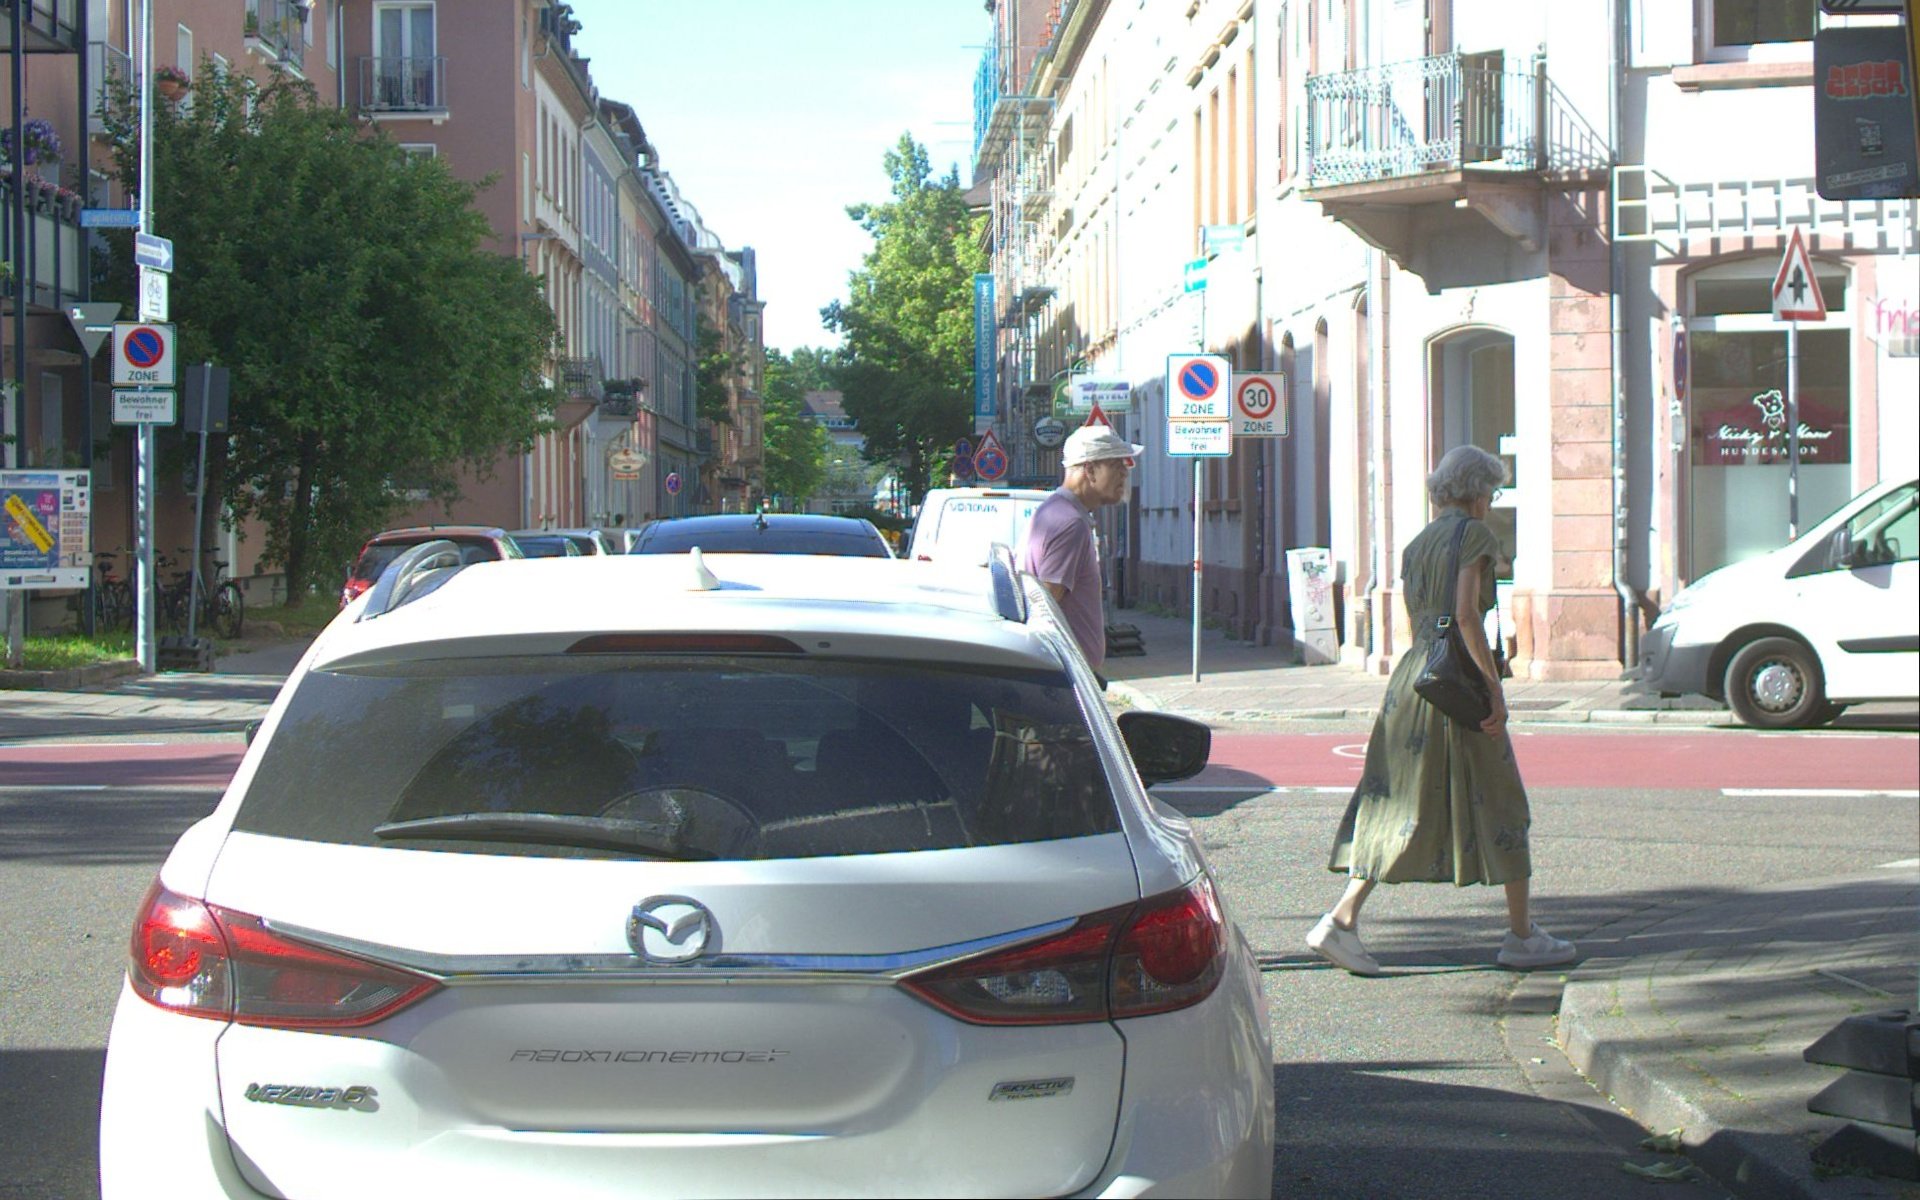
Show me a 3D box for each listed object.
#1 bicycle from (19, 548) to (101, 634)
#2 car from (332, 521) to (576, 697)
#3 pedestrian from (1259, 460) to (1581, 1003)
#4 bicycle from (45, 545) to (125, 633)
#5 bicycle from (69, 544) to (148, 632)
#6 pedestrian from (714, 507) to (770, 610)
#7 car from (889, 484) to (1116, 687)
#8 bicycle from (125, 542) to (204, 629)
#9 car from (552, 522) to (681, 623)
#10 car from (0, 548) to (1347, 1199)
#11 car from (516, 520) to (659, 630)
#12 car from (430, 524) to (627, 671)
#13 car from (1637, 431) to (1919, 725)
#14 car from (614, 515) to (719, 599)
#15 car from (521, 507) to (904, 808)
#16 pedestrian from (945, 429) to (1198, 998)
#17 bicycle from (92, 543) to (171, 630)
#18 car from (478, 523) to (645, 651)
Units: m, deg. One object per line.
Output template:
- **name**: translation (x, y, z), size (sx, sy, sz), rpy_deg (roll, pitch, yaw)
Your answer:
- **bicycle**: translation (-11.027, -0.119, 42.129), size (1.215, 1.032, 0.290), rpy_deg (1, 2, 38)
- **car**: translation (-4.537, 0.035, 31.288), size (1.685, 1.495, 3.807), rpy_deg (0, 1, -1)
- **pedestrian**: translation (1.486, 0.418, 11.213), size (0.836, 1.661, 0.626), rpy_deg (-4, -1, 0)
- **bicycle**: translation (-10.792, -0.142, 42.378), size (1.215, 1.068, 0.265), rpy_deg (1, 2, 38)
- **bicycle**: translation (-10.567, -0.155, 42.648), size (1.215, 1.067, 0.253), rpy_deg (1, 2, 38)
- **pedestrian**: translation (-3.447, -0.657, 54.413), size (0.733, 1.608, 0.816), rpy_deg (-1, 1, -13)
- **car**: translation (0.350, -0.197, 34.861), size (1.894, 1.853, 5.015), rpy_deg (2, 1, -3)
- **bicycle**: translation (-9.955, -0.190, 43.014), size (1.218, 1.068, 0.253), rpy_deg (1, 2, 38)
- **car**: translation (-5.282, -0.452, 53.244), size (1.653, 1.495, 3.763), rpy_deg (0, 1, -1)
- **car**: translation (-0.433, 0.649, 6.472), size (1.831, 1.452, 3.962), rpy_deg (0, 1, -1)
- **car**: translation (-5.269, -0.384, 48.958), size (1.653, 1.495, 3.763), rpy_deg (0, 1, -1)
- **car**: translation (-4.613, -0.073, 37.208), size (1.653, 1.495, 4.080), rpy_deg (0, 1, -1)
- **car**: translation (7.311, -0.164, 23.321), size (5.015, 1.939, 2.048), rpy_deg (0, 1, 24)
- **car**: translation (-5.392, -0.810, 63.463), size (1.653, 1.495, 3.763), rpy_deg (0, 1, -1)
- **car**: translation (-1.195, 0.221, 18.287), size (1.760, 1.405, 4.328), rpy_deg (0, 1, -1)
- **pedestrian**: translation (0.346, 0.346, 11.115), size (0.749, 1.758, 0.831), rpy_deg (-1, 1, -1)
- **bicycle**: translation (-10.343, -0.177, 42.917), size (1.215, 1.068, 0.253), rpy_deg (1, 2, 38)
- **car**: translation (-4.866, -0.192, 42.416), size (1.653, 1.495, 3.763), rpy_deg (0, 1, -1)
